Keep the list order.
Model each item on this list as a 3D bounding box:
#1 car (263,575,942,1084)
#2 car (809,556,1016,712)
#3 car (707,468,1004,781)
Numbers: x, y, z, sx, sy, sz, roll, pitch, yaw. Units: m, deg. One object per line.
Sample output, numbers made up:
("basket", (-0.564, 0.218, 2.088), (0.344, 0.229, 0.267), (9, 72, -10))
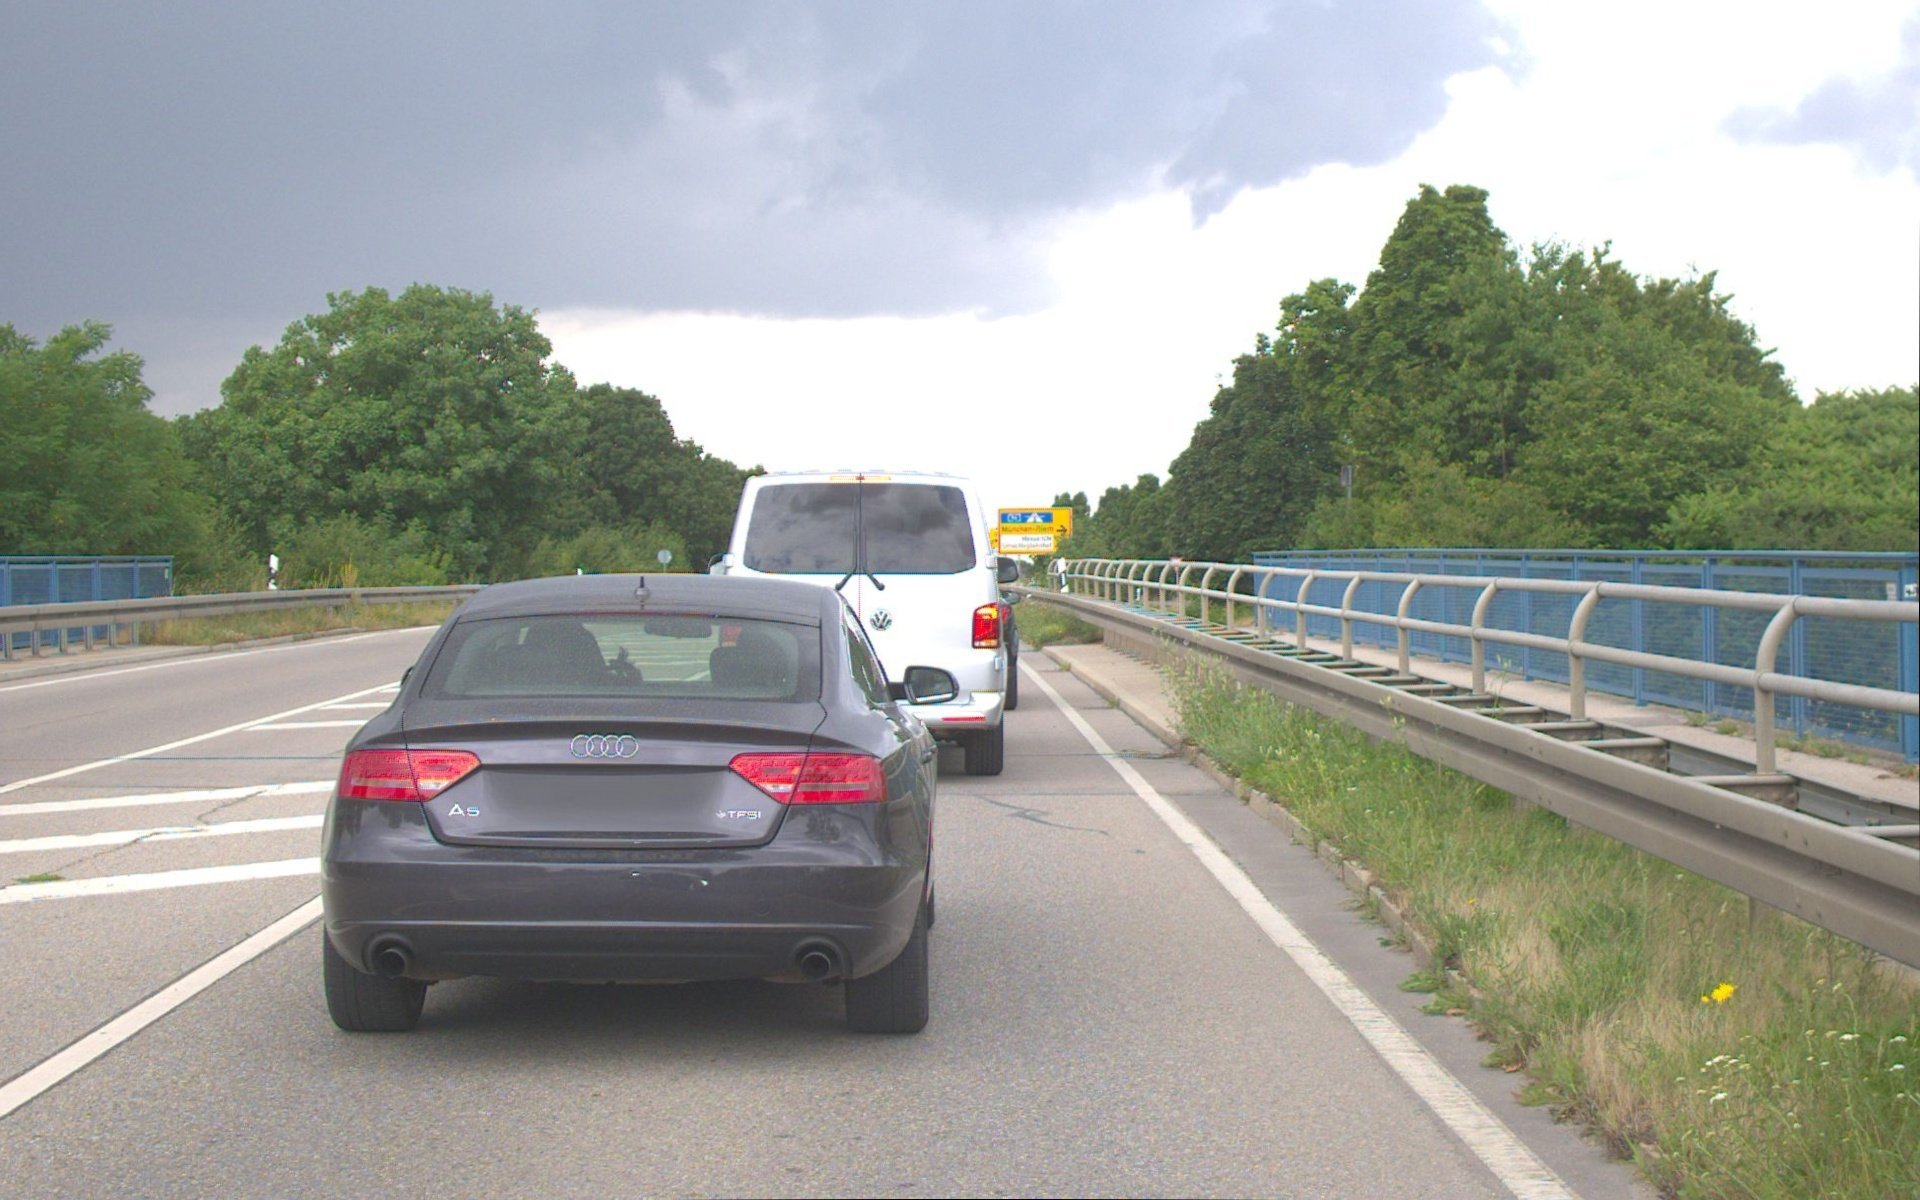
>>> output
("car", (-0.997, 0.617, 11.512), (1.821, 1.376, 4.072), (0, 1, 0))
("car", (-0.407, 0.272, 32.400), (1.821, 1.376, 4.072), (0, 1, 0))
("car", (-0.677, 0.127, 23.279), (1.828, 1.929, 4.000), (0, 1, -1))
